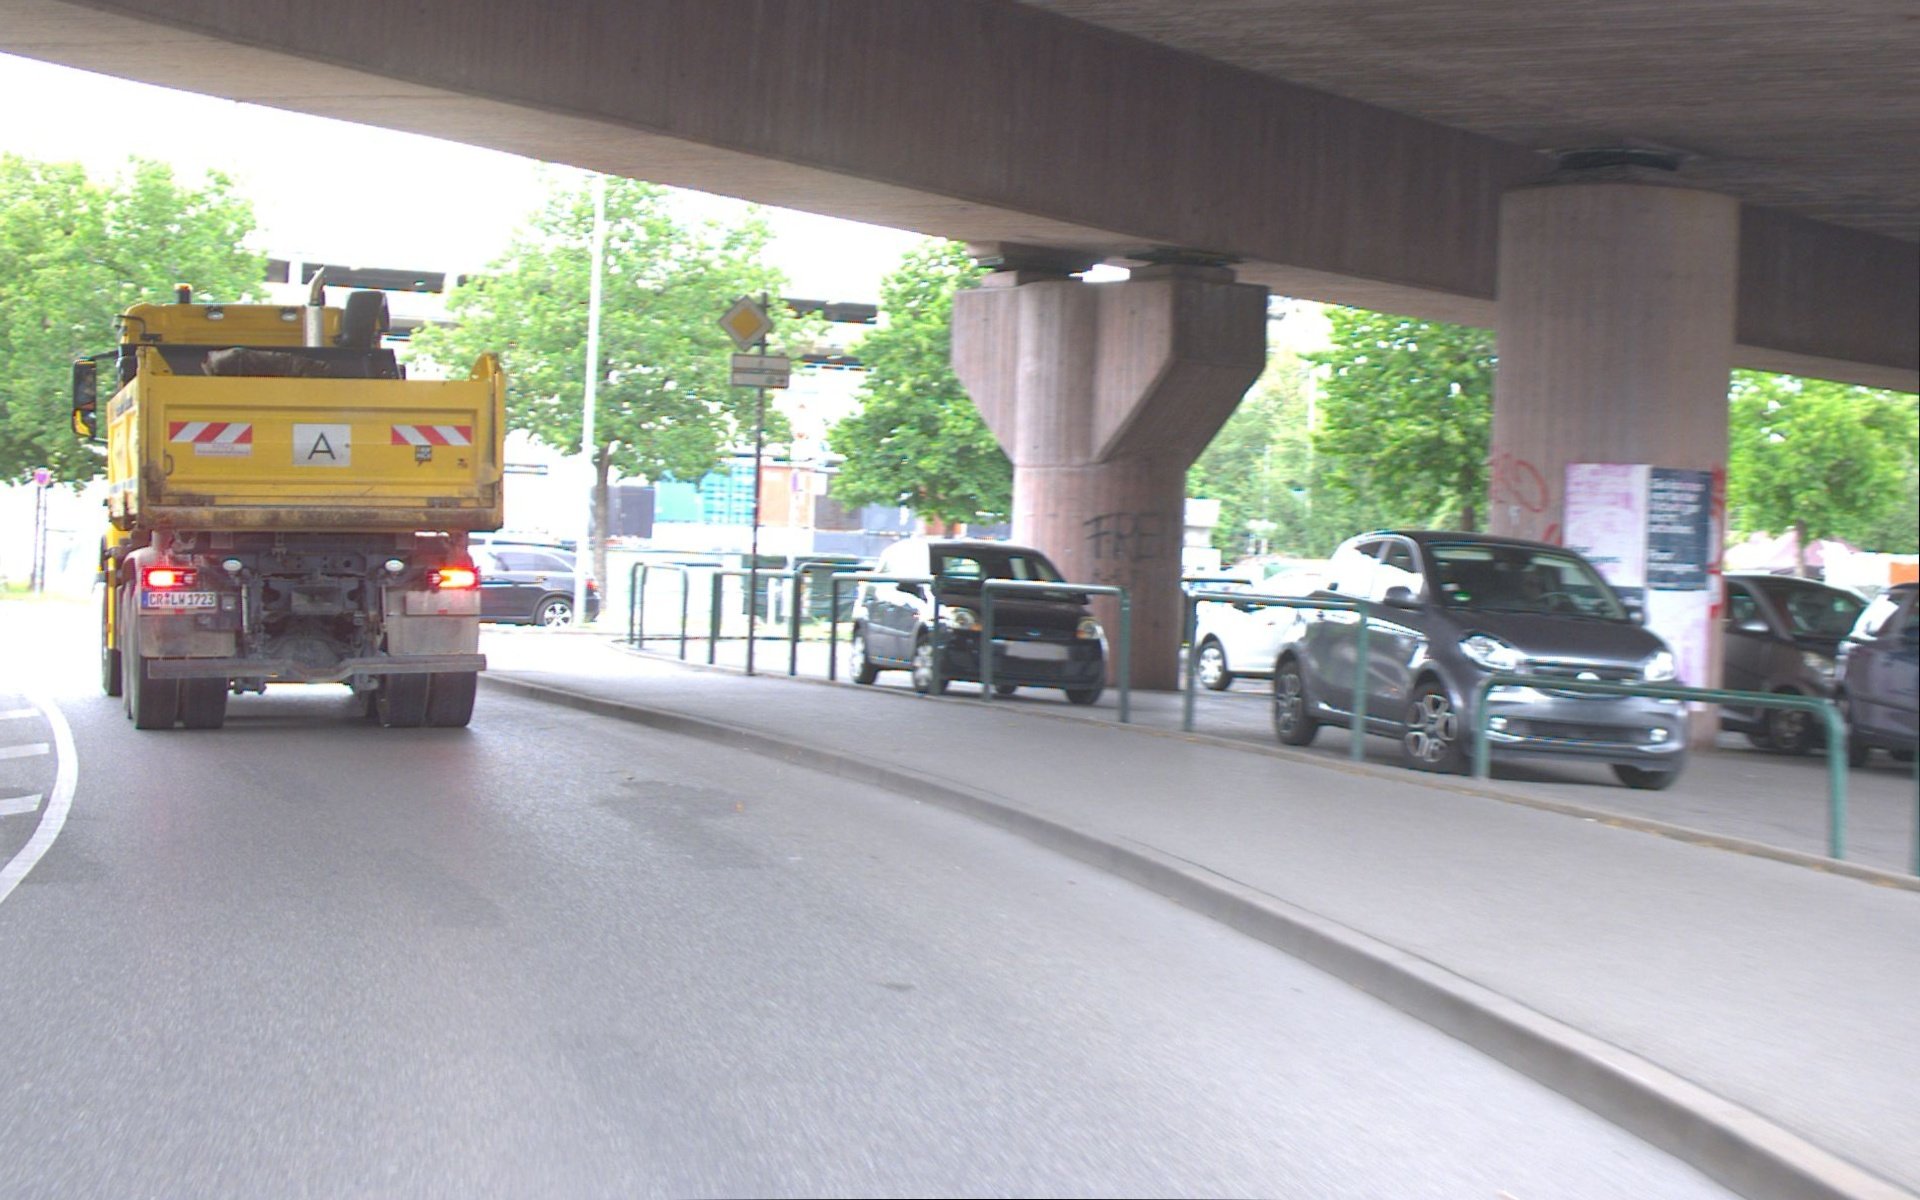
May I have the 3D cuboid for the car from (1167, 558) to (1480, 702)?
[{"bbox_3d":[4.238,0.327,40.715,1.633,1.546,4.012,2,1,-29],"label":"car"}]

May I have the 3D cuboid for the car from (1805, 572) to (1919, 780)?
[{"bbox_3d":[7.781,0.599,25.583,1.785,1.501,3.859,3,-1,-3],"label":"car"}]

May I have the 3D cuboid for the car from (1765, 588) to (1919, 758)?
[{"bbox_3d":[9.342,0.714,30.948,1.832,1.465,4.381,3,0,-22],"label":"car"}]

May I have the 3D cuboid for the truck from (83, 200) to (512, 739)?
[{"bbox_3d":[-5.545,-0.927,27.661,2.757,3.686,7.882,-1,0,-15],"label":"truck"}]

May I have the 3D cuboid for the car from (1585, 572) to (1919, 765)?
[{"bbox_3d":[7.182,0.581,30.254,1.525,1.495,3.376,4,0,-26],"label":"car"}]

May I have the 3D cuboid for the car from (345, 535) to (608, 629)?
[{"bbox_3d":[-8.822,-0.332,62.617,4.533,1.569,1.846,2,1,-14],"label":"car"}]

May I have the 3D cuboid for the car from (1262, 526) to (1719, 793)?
[{"bbox_3d":[3.379,0.333,22.505,1.605,1.528,3.411,4,0,-16],"label":"car"}]

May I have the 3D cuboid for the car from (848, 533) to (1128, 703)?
[{"bbox_3d":[0.197,0.133,32.022,1.605,1.392,3.581,4,0,-16],"label":"car"}]

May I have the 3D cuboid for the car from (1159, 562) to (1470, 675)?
[{"bbox_3d":[5.083,0.275,49.157,4.234,1.415,1.510,2,2,-28],"label":"car"}]
